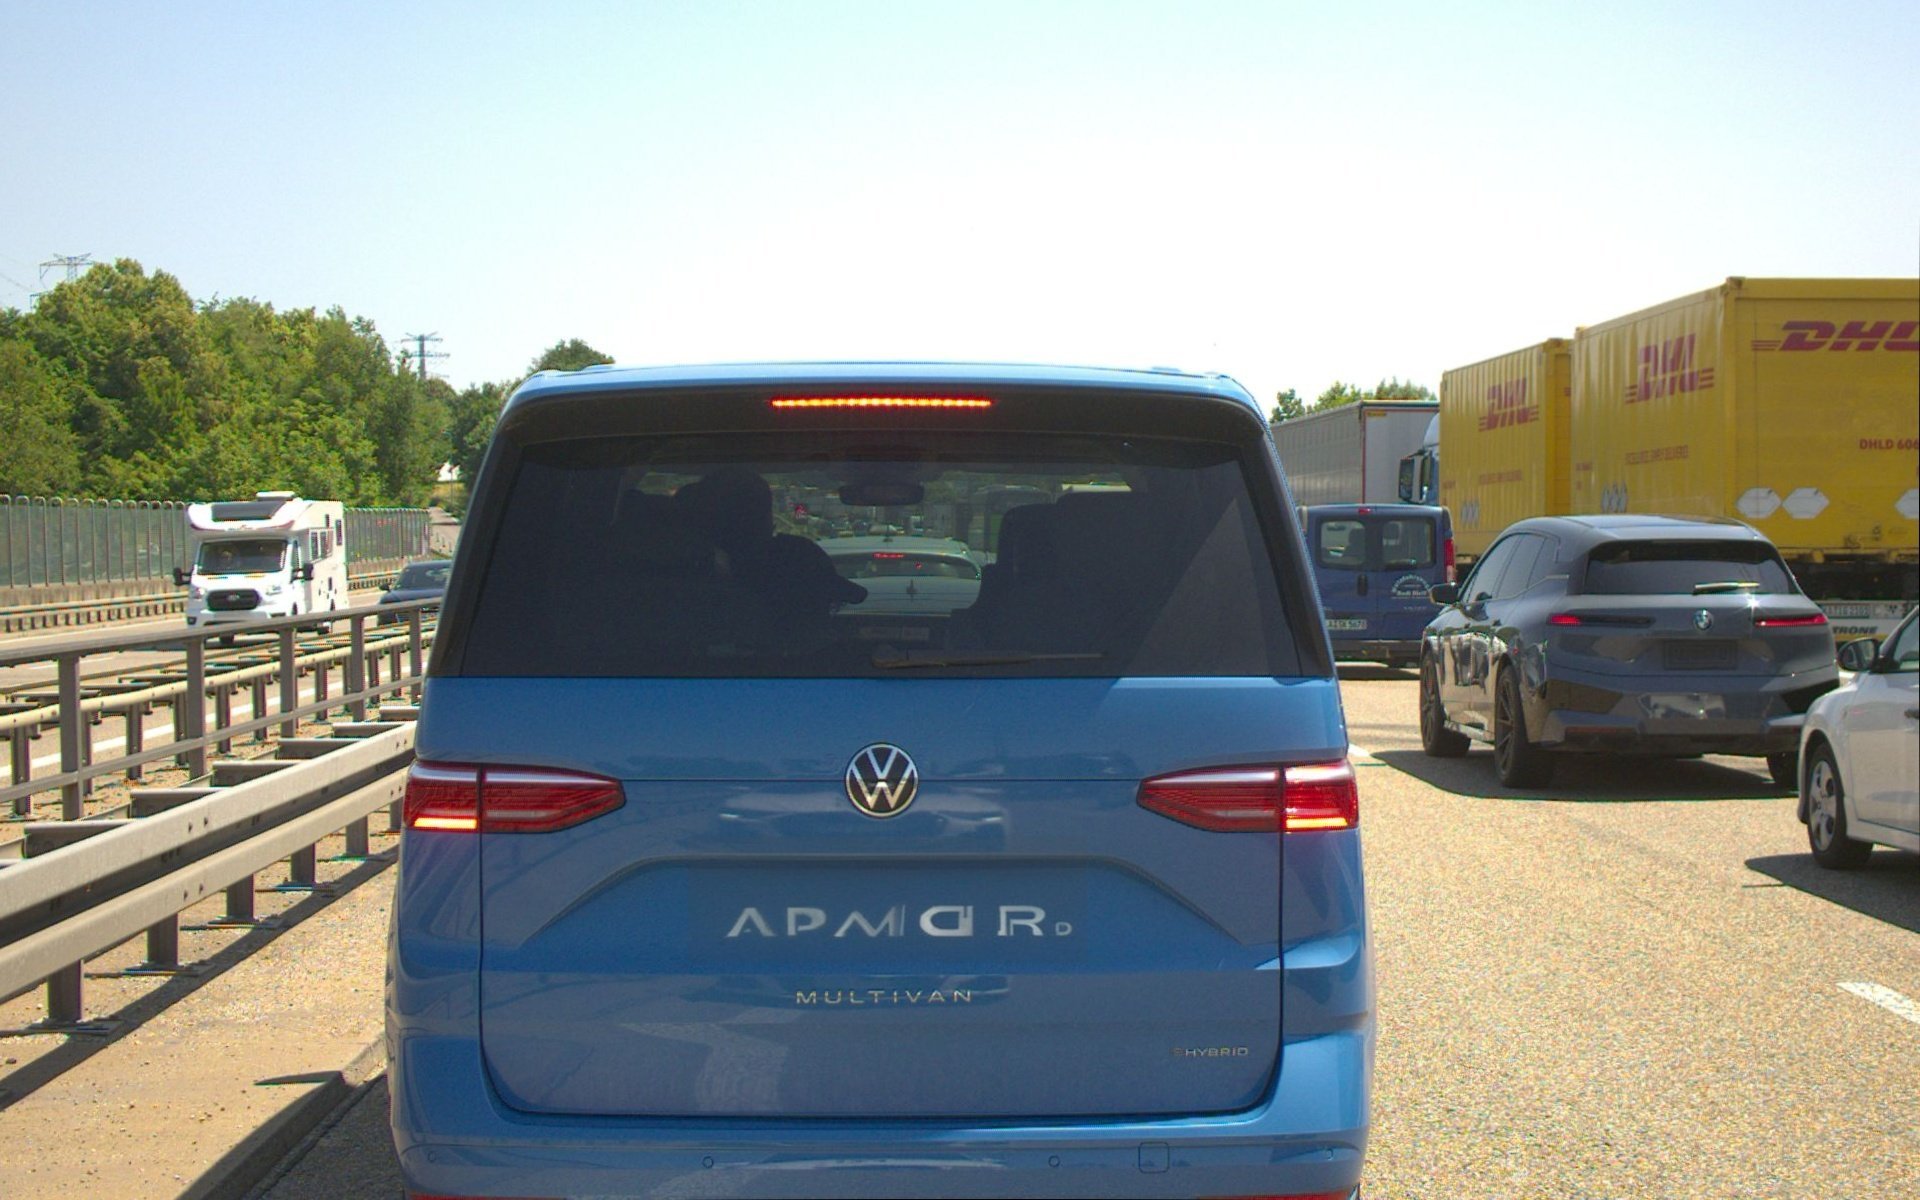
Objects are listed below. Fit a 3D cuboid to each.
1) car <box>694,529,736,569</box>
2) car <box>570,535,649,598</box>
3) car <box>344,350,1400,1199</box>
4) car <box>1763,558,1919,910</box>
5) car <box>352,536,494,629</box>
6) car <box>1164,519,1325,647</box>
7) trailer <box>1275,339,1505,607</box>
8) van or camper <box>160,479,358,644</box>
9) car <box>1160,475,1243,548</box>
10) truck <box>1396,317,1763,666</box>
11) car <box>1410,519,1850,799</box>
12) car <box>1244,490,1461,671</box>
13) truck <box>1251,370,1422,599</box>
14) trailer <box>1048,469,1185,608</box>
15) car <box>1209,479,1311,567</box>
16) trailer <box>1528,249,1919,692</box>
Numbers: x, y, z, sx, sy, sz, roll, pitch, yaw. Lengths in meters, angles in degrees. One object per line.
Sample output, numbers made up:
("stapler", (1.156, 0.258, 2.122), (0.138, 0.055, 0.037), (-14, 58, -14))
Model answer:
("car", (-13.440, -2.802, 188.725), (1.863, 2.124, 4.268), (-3, 1, 0))
("car", (-10.384, -1.021, 102.106), (1.867, 1.694, 4.431), (-4, 2, -1))
("car", (-0.178, 0.476, 8.025), (1.820, 1.851, 4.075), (1, 1, -1))
("car", (4.883, 0.554, 14.805), (1.788, 1.450, 4.293), (0, 1, -1))
("car", (-9.857, -0.352, 63.420), (1.867, 1.526, 4.425), (-4, 1, 0))
("car", (4.147, -0.270, 50.675), (1.993, 1.809, 4.000), (0, 1, -1))
("trailer", (7.776, -2.241, 63.670), (2.637, 4.501, 11.302), (1, 1, -1))
("van or camper", (-13.789, -0.784, 68.101), (2.422, 3.013, 7.027), (-2, 1, 0))
("car", (6.883, -2.520, 98.362), (1.993, 2.007, 4.461), (-1, 1, -1))
("truck", (8.278, -1.402, 47.582), (2.836, 4.228, 11.011), (1, 1, -1))
("car", (4.217, 0.308, 22.337), (1.962, 1.639, 4.293), (0, 1, -1))
("car", (4.494, -0.247, 39.934), (1.962, 1.986, 4.293), (0, 1, -1))
("truck", (7.686, -2.300, 71.016), (2.667, 4.469, 6.850), (1, 1, -1))
("trailer", (3.537, -1.386, 80.094), (2.569, 2.980, 10.663), (1, 1, 0))
("car", (7.014, -1.781, 80.719), (1.993, 2.007, 4.000), (1, 1, -1))
("trailer", (8.471, -1.286, 37.569), (2.864, 4.224, 9.012), (1, 1, -1))
